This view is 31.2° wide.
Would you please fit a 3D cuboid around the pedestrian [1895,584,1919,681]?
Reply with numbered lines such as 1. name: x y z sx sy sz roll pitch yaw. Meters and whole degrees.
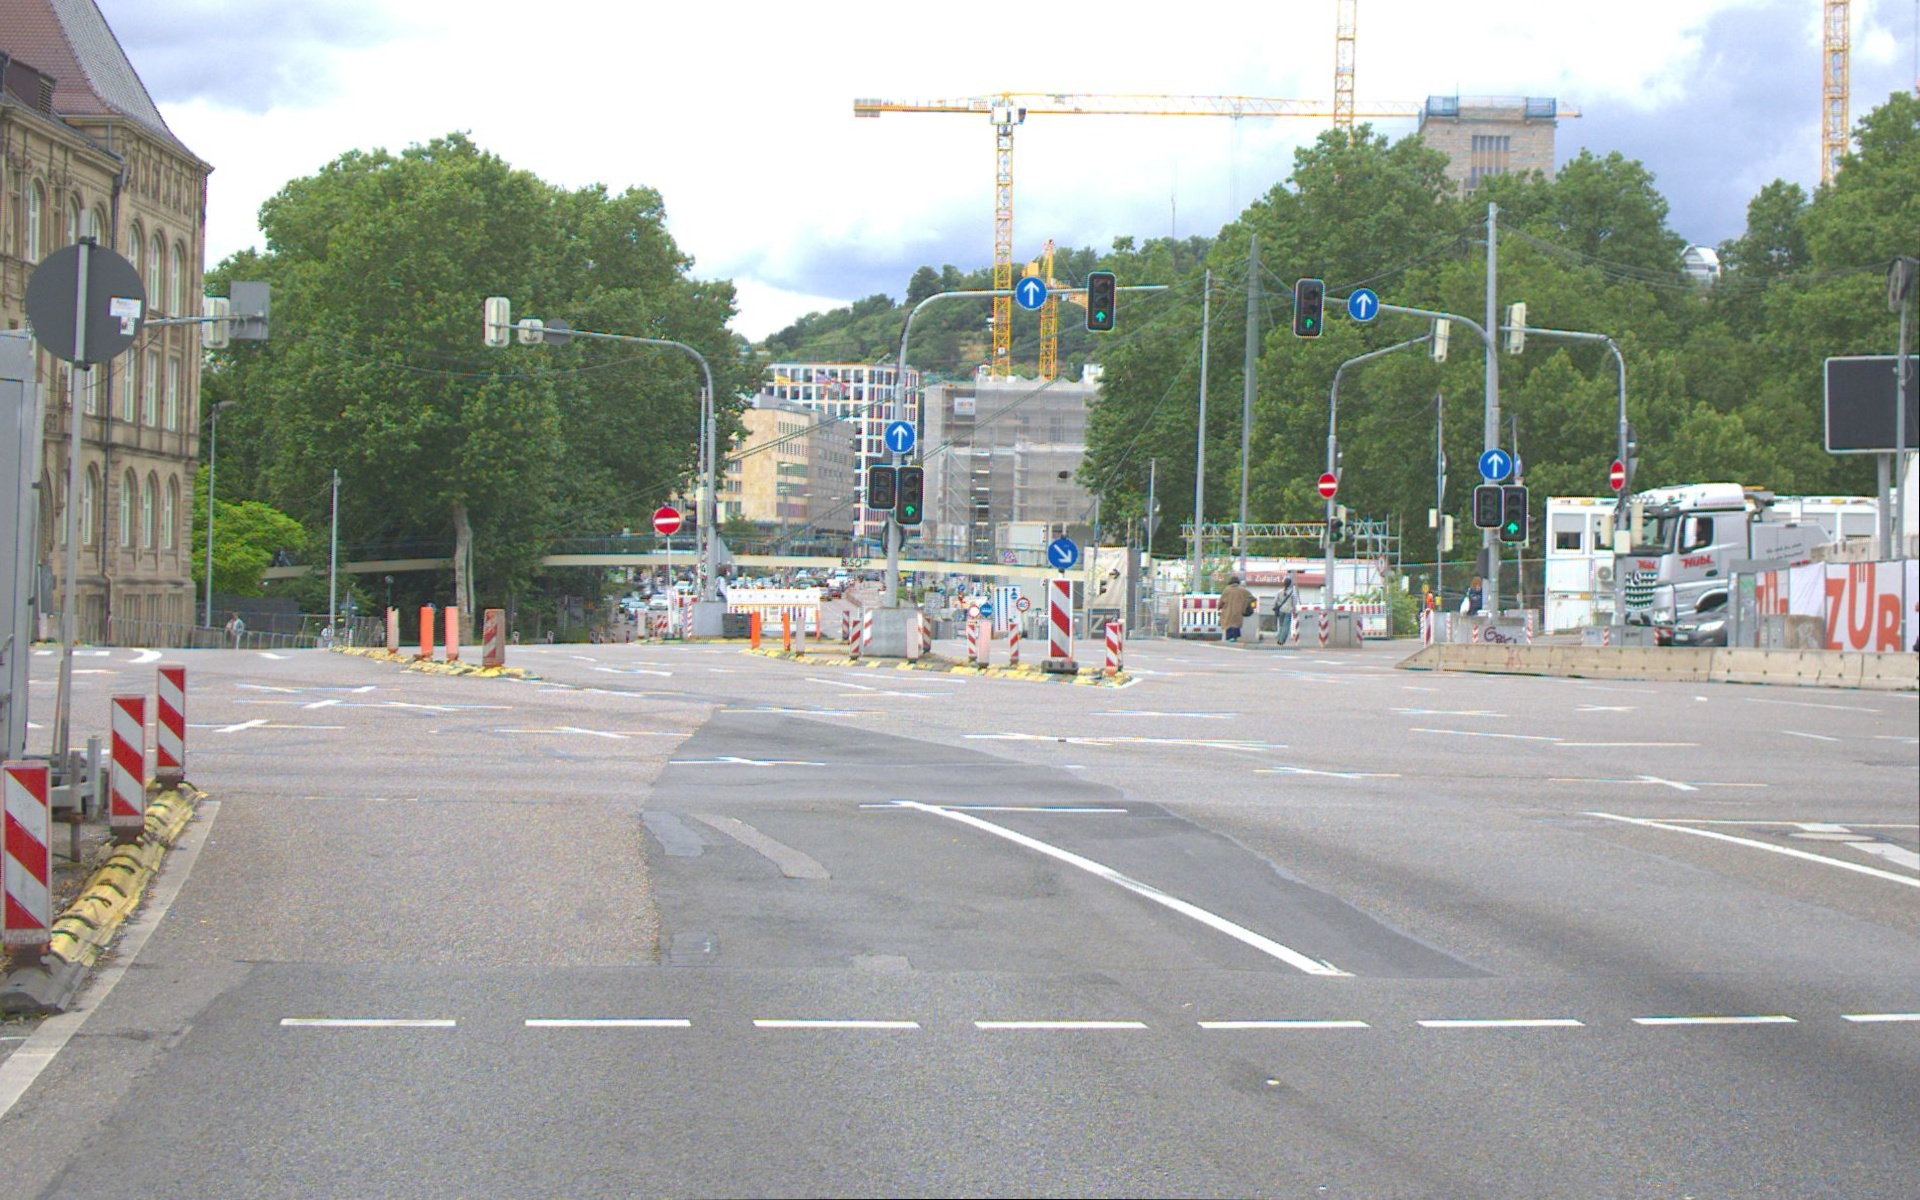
1. pedestrian: 14.084 0.478 49.471 0.796 1.373 0.905 1 1 -20

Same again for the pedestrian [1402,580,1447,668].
1. pedestrian: 9.126 0.467 67.584 0.729 1.683 0.678 1 1 -1

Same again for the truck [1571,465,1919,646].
1. truck: 21.352 -0.994 81.996 13.022 4.027 3.952 1 1 -20

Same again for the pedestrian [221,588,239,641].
1. pedestrian: -27.588 0.544 129.926 0.524 2.007 0.567 1 1 0

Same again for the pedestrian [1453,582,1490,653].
1. pedestrian: 12.210 0.413 82.080 0.622 1.683 0.710 2 1 29

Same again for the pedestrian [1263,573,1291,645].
1. pedestrian: 7.504 0.210 81.292 0.566 1.683 0.472 1 1 -1

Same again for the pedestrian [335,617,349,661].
1. pedestrian: -28.273 1.784 157.233 0.524 2.007 0.567 1 1 0

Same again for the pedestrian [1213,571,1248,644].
1. pedestrian: 6.362 0.164 80.895 0.729 1.683 0.678 1 1 -1
